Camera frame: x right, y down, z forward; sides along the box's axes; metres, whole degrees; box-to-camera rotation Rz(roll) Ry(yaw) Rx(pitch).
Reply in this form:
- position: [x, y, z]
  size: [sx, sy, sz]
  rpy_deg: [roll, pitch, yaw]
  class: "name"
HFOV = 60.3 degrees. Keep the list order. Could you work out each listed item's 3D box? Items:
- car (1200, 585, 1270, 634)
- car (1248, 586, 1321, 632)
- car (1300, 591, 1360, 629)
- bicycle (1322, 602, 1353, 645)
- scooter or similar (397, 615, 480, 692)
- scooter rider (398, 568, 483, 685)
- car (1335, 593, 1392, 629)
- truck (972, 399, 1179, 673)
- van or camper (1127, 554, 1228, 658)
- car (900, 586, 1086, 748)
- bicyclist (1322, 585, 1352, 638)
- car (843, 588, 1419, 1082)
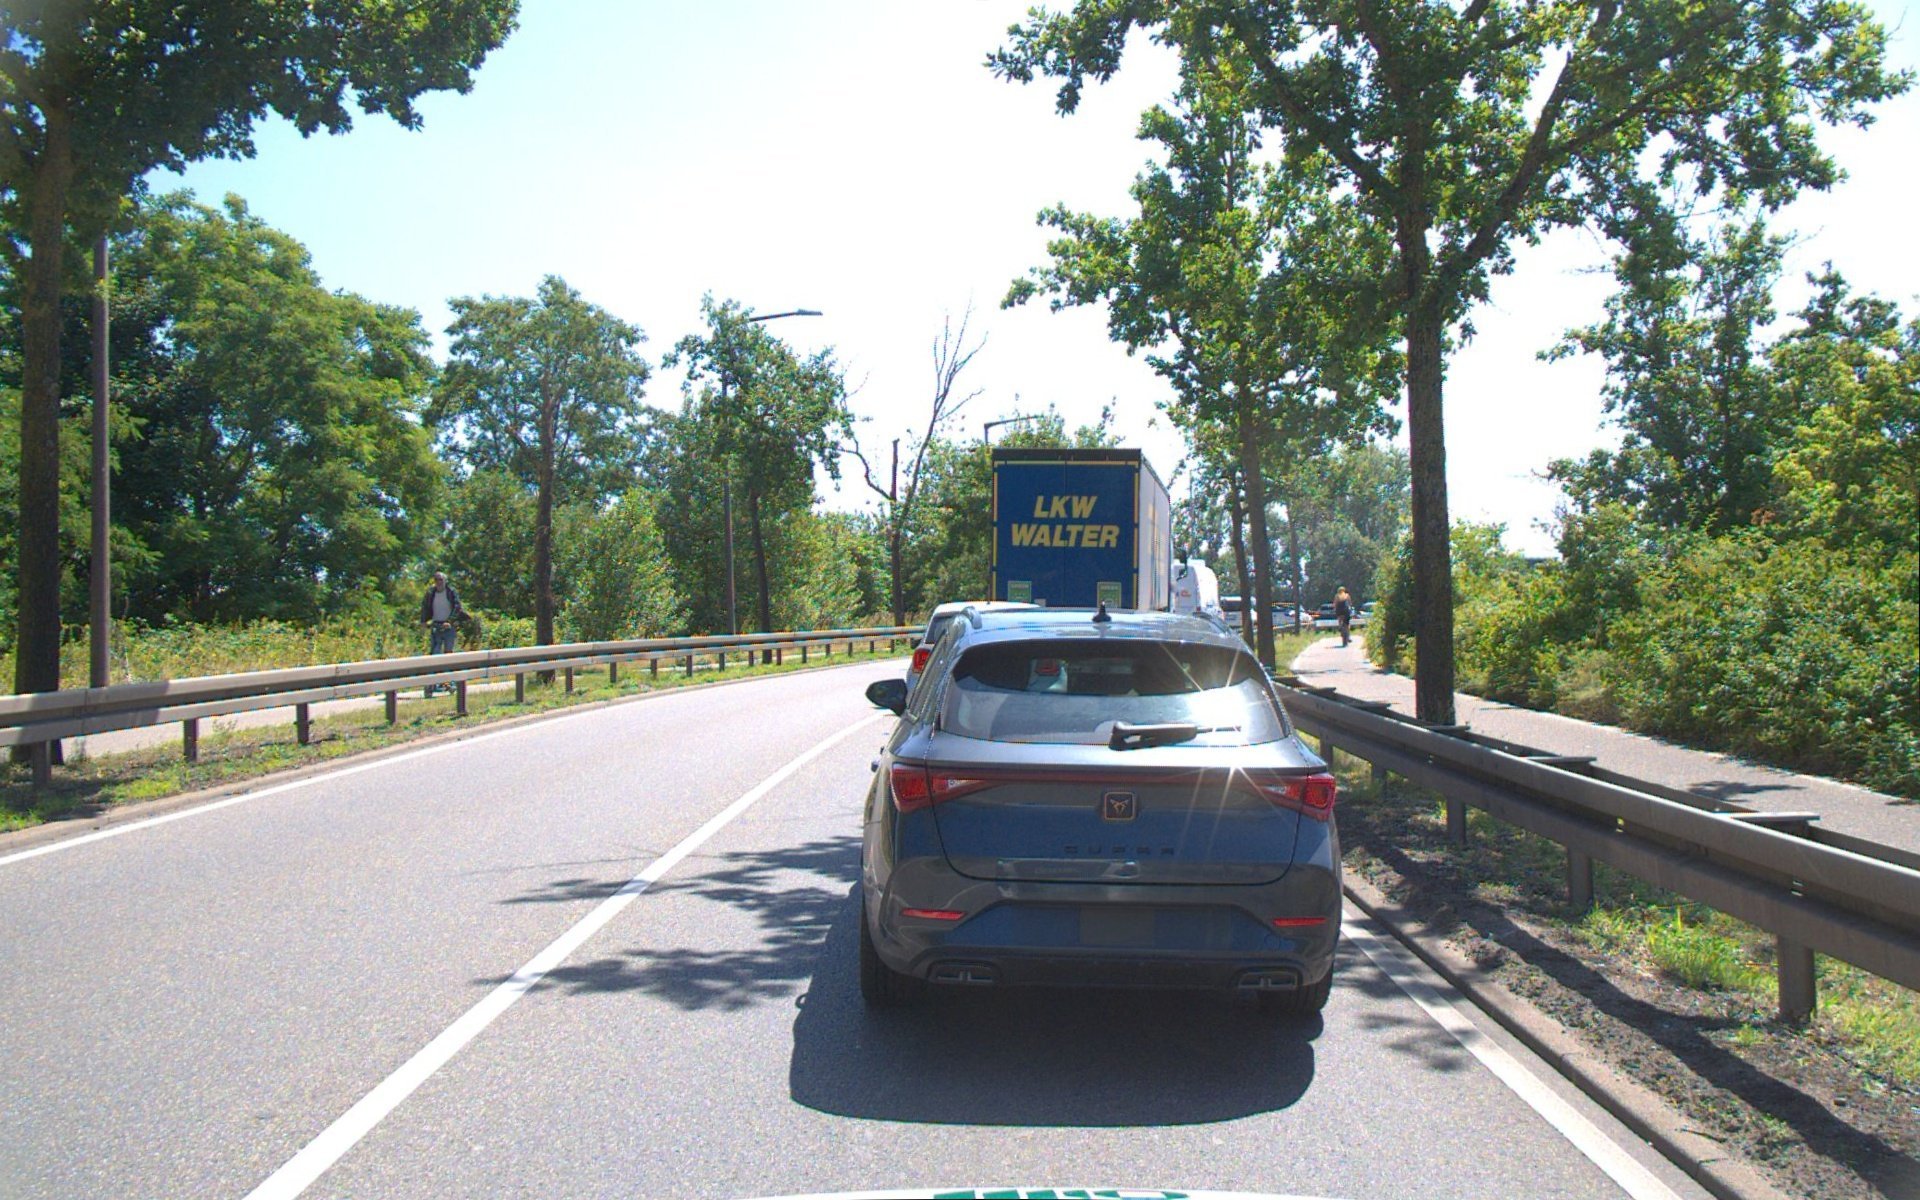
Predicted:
- position: [10.246, 0.354, 61.400]
  size: [1.951, 1.742, 4.622]
  rpy_deg: [1, 0, 17]
  class: "car"
- position: [13.705, 0.375, 69.646]
  size: [1.953, 1.840, 4.843]
  rpy_deg: [1, 0, 24]
  class: "car"
- position: [17.982, 0.499, 80.243]
  size: [1.953, 1.747, 4.866]
  rpy_deg: [1, 0, 24]
  class: "car"
- position: [11.275, 0.691, 49.426]
  size: [0.842, 1.258, 2.311]
  rpy_deg: [1, 0, 12]
  class: "bicycle"
- position: [-7.764, 0.785, 24.679]
  size: [0.760, 1.110, 1.096]
  rpy_deg: [1, 0, 8]
  class: "scooter or similar"
- position: [-7.758, 0.390, 24.718]
  size: [0.760, 1.686, 1.121]
  rpy_deg: [1, 0, 9]
  class: "scooter rider"
- position: [21.267, 0.577, 87.096]
  size: [1.954, 1.799, 4.750]
  rpy_deg: [1, 0, 26]
  class: "car"
- position: [3.013, -1.032, 35.921]
  size: [2.887, 4.527, 16.811]
  rpy_deg: [1, 0, 9]
  class: "truck"
- position: [6.899, 0.185, 51.860]
  size: [2.414, 3.051, 6.090]
  rpy_deg: [1, 0, 14]
  class: "van or camper"
- position: [0.408, 0.652, 17.953]
  size: [1.771, 1.534, 4.001]
  rpy_deg: [1, 0, 3]
  class: "car"
- position: [11.270, 0.336, 49.418]
  size: [0.842, 1.550, 0.981]
  rpy_deg: [1, 0, 12]
  class: "bicyclist"
- position: [0.473, 0.714, 6.889]
  size: [1.709, 1.457, 3.879]
  rpy_deg: [1, 0, -1]
  class: "car"
